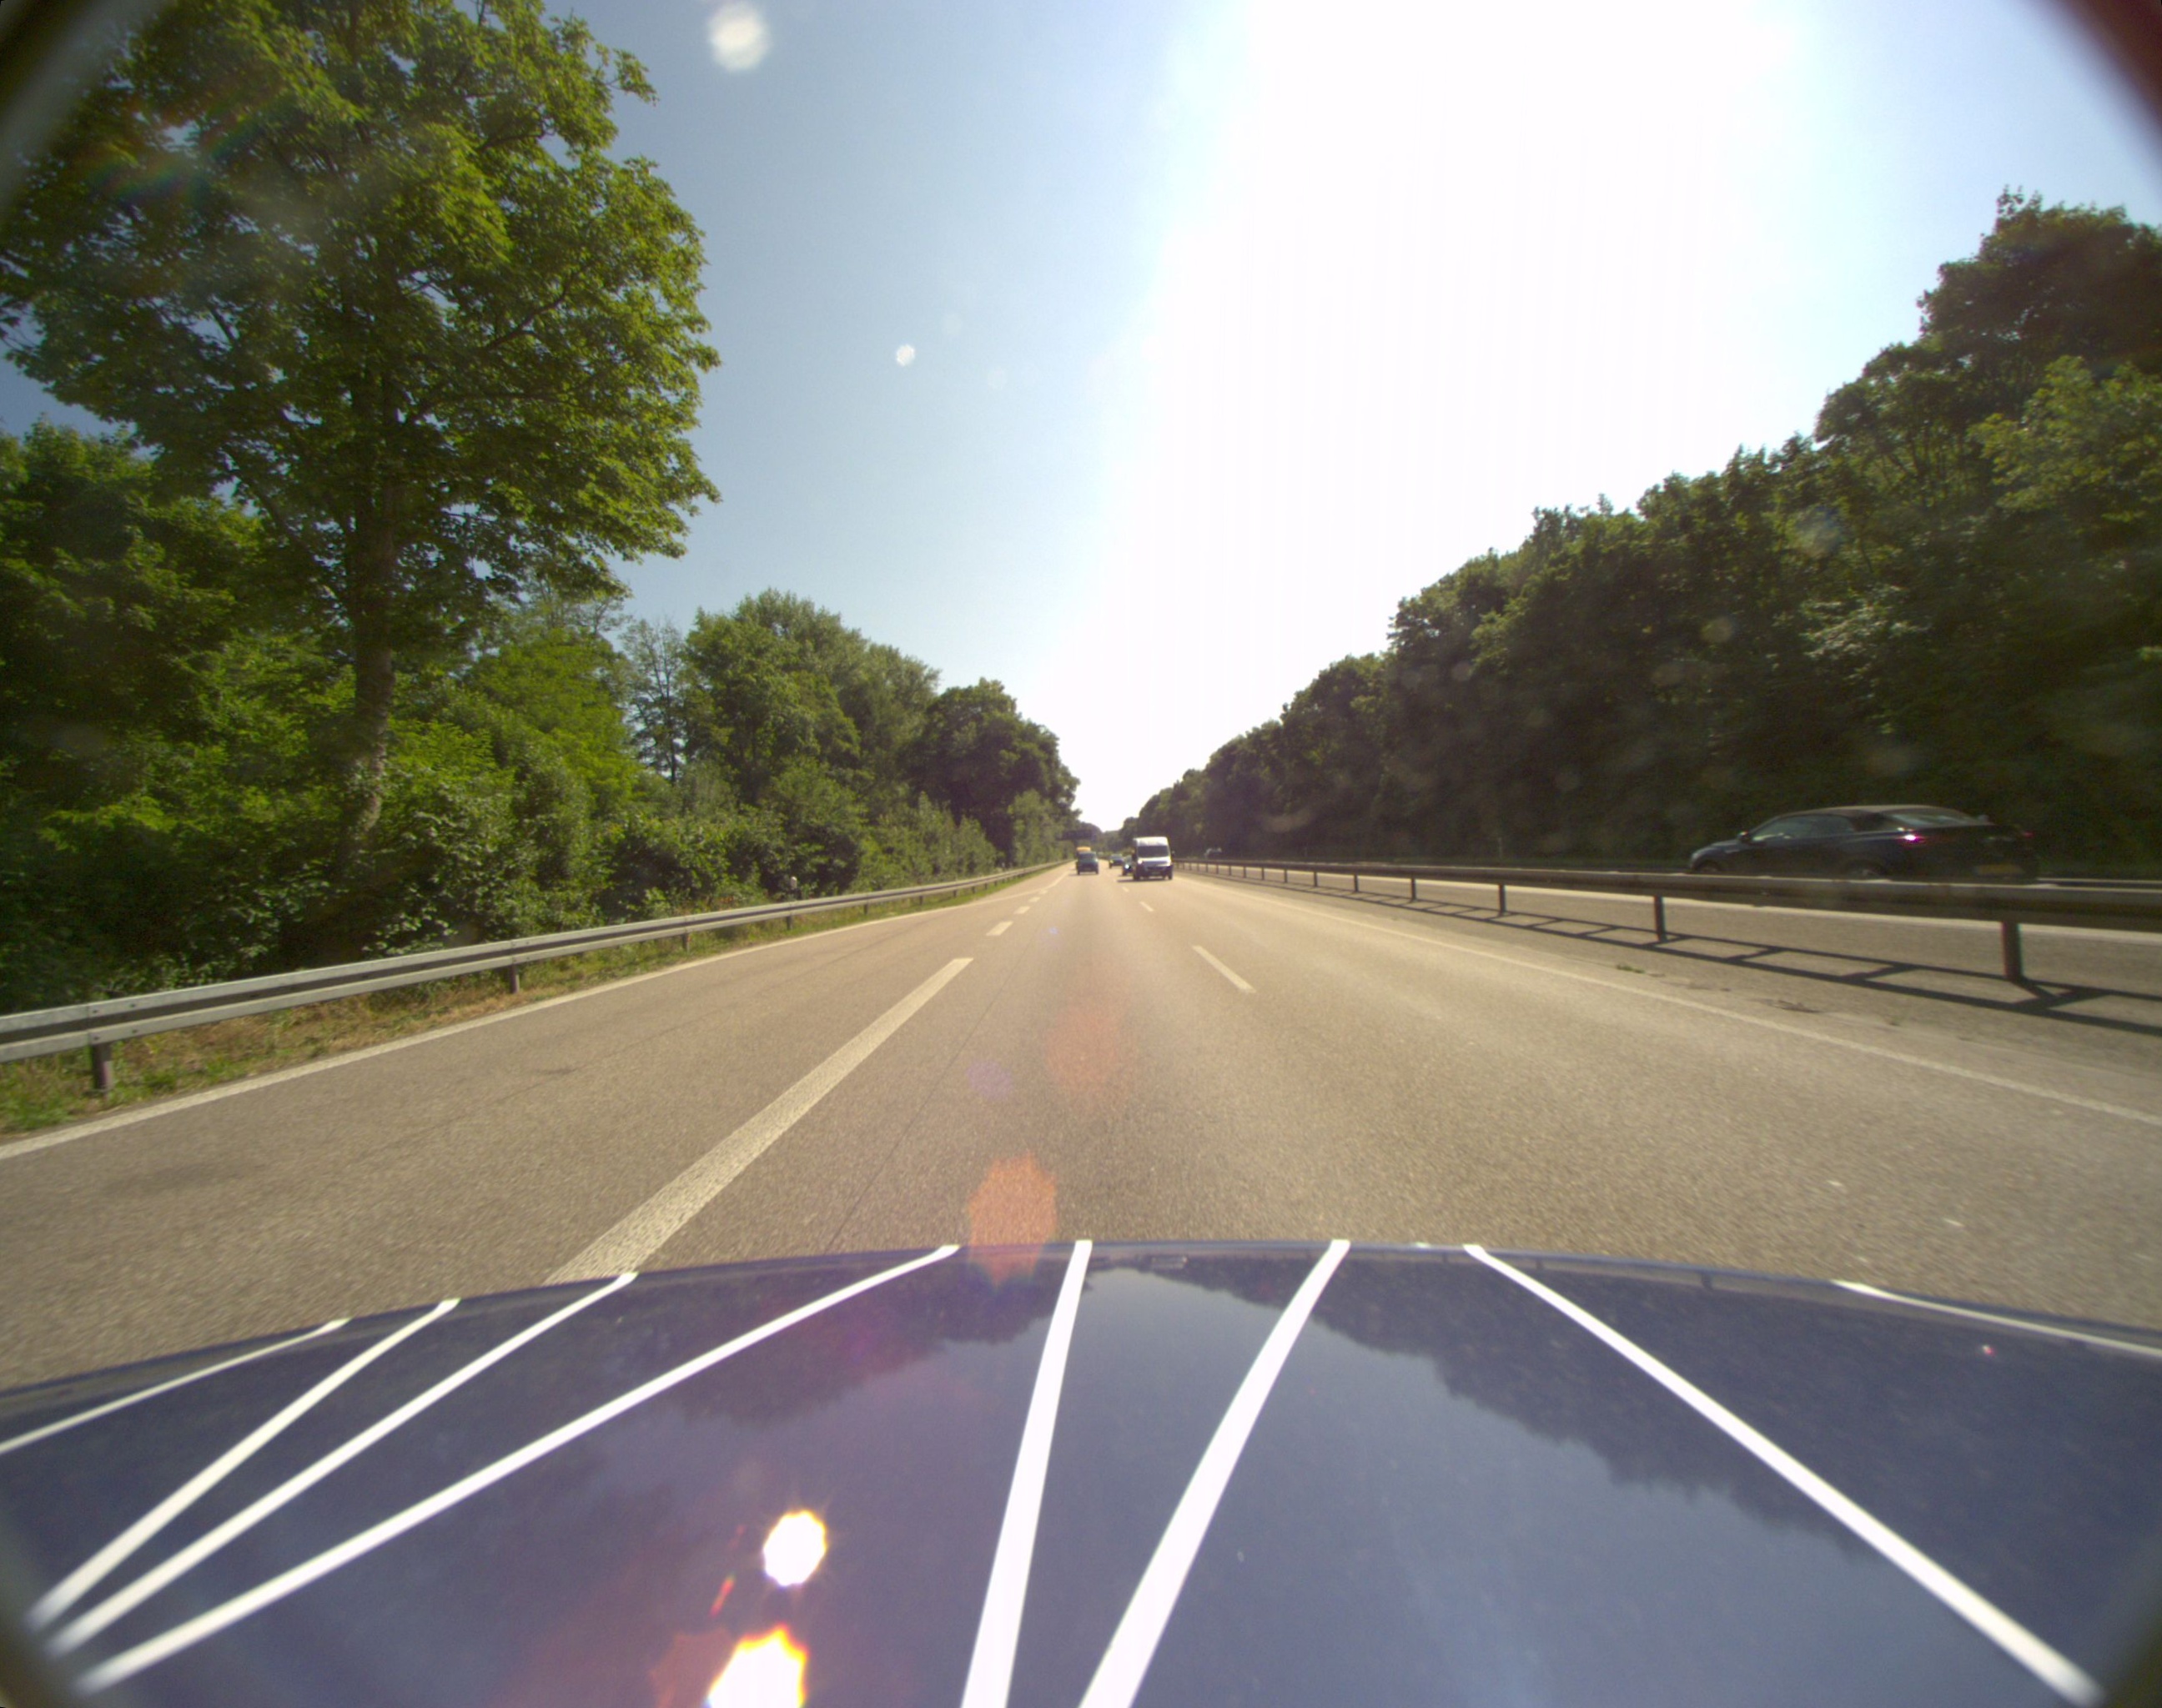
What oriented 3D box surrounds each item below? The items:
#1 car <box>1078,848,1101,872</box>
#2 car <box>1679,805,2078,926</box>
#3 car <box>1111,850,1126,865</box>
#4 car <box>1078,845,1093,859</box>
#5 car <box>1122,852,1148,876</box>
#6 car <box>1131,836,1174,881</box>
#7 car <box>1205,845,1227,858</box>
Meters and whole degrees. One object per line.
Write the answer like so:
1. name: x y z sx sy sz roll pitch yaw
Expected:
1. car: 0.708 0.502 64.531 1.812 1.921 4.581 -3 0 0
2. car: 11.838 0.137 11.800 1.727 1.471 4.244 -3 0 0
3. car: 4.395 0.397 89.804 1.517 1.624 3.611 -3 0 1
4. car: 0.587 -0.266 92.035 1.737 1.624 3.899 -3 0 1
5. car: 3.942 0.698 55.885 1.666 1.624 3.644 -3 0 1
6. car: 4.120 0.230 44.464 2.046 2.429 4.637 -3 0 0
7. car: 16.468 -0.353 92.777 1.847 1.501 4.550 -3 0 -1
